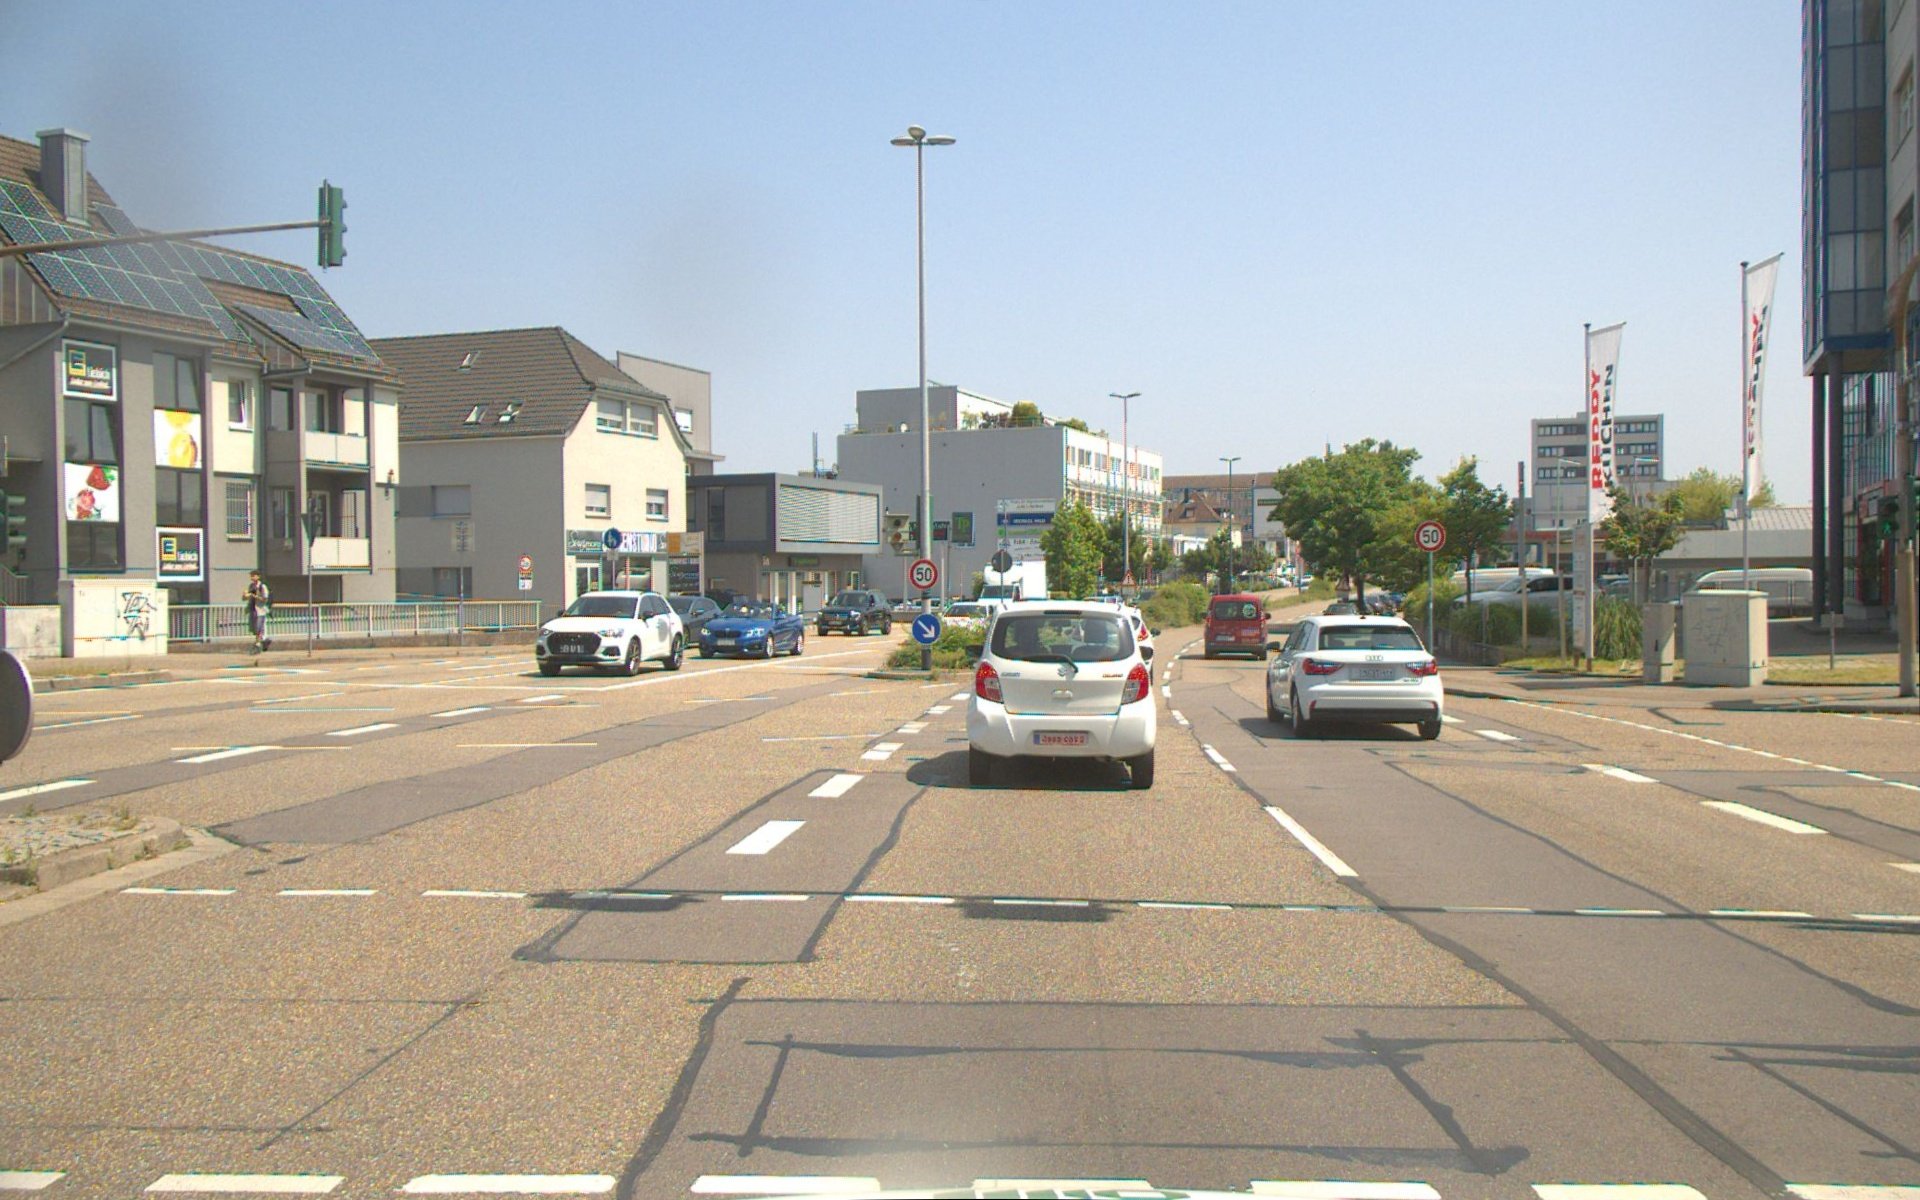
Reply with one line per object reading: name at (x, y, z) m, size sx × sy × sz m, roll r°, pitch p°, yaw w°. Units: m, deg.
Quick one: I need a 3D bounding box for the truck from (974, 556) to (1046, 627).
truck at (2.636, -0.401, 84.954) m, size 2.216 × 3.477 × 7.044 m, roll 1°, pitch -1°, yaw 14°

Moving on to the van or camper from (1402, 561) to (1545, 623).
van or camper at (25.514, -0.403, 82.304) m, size 6.654 × 2.948 × 2.276 m, roll -1°, pitch 1°, yaw 18°

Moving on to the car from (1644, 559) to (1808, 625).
car at (30.487, -0.324, 66.045) m, size 5.765 × 2.573 × 2.120 m, roll 1°, pitch -1°, yaw 22°

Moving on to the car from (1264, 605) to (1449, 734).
car at (4.819, 0.785, 20.544) m, size 1.632 × 1.424 × 3.795 m, roll 0°, pitch 0°, yaw 4°

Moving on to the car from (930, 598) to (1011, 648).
car at (0.381, 0.690, 52.215) m, size 1.823 × 1.456 × 4.748 m, roll 1°, pitch 0°, yaw 9°

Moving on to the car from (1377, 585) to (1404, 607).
car at (31.315, -0.303, 120.264) m, size 1.677 × 1.575 × 4.794 m, roll -1°, pitch 0°, yaw 17°

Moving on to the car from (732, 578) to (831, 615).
car at (-8.000, -0.148, 74.296) m, size 3.970 × 1.548 × 2.001 m, roll -1°, pitch 0°, yaw 16°

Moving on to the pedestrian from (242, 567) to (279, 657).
pedestrian at (-16.125, 0.273, 38.127) m, size 0.492 × 2.048 × 0.743 m, roll 1°, pitch 1°, yaw 2°

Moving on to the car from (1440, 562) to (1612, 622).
car at (17.452, -0.237, 51.125) m, size 4.634 × 1.743 × 1.997 m, roll 1°, pitch -1°, yaw -7°

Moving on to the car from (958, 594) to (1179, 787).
car at (0.878, 0.747, 15.001) m, size 1.678 × 1.537 × 3.246 m, roll 1°, pitch 0°, yaw -2°

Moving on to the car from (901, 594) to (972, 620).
car at (-1.367, 0.408, 97.753) m, size 3.902 × 1.485 × 1.576 m, roll -1°, pitch -1°, yaw 14°

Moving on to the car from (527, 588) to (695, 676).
car at (-6.807, 0.583, 32.801) m, size 1.778 × 1.597 × 4.559 m, roll 1°, pitch 0°, yaw 8°

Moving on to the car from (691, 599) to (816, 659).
car at (-5.082, 0.698, 41.295) m, size 1.823 × 1.390 × 4.350 m, roll 1°, pitch 0°, yaw 11°

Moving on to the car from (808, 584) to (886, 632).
car at (-4.183, 0.272, 61.999) m, size 1.951 × 1.685 × 4.598 m, roll -1°, pitch 1°, yaw 9°

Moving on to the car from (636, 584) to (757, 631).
car at (-10.775, 0.281, 67.680) m, size 4.510 × 1.655 × 1.855 m, roll 3°, pitch 1°, yaw 18°

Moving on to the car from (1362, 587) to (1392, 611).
car at (27.629, -0.098, 109.469) m, size 1.815 × 1.507 × 5.160 m, roll 0°, pitch 1°, yaw 16°

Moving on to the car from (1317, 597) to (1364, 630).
car at (17.372, 0.584, 75.410) m, size 1.759 × 1.430 × 4.323 m, roll 1°, pitch 1°, yaw 17°

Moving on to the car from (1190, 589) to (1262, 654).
car at (7.531, 0.581, 47.060) m, size 1.757 × 1.759 × 3.975 m, roll 1°, pitch 0°, yaw 6°

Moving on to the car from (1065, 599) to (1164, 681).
car at (2.959, 0.728, 32.313) m, size 1.791 × 1.475 × 4.002 m, roll 1°, pitch 0°, yaw 4°
